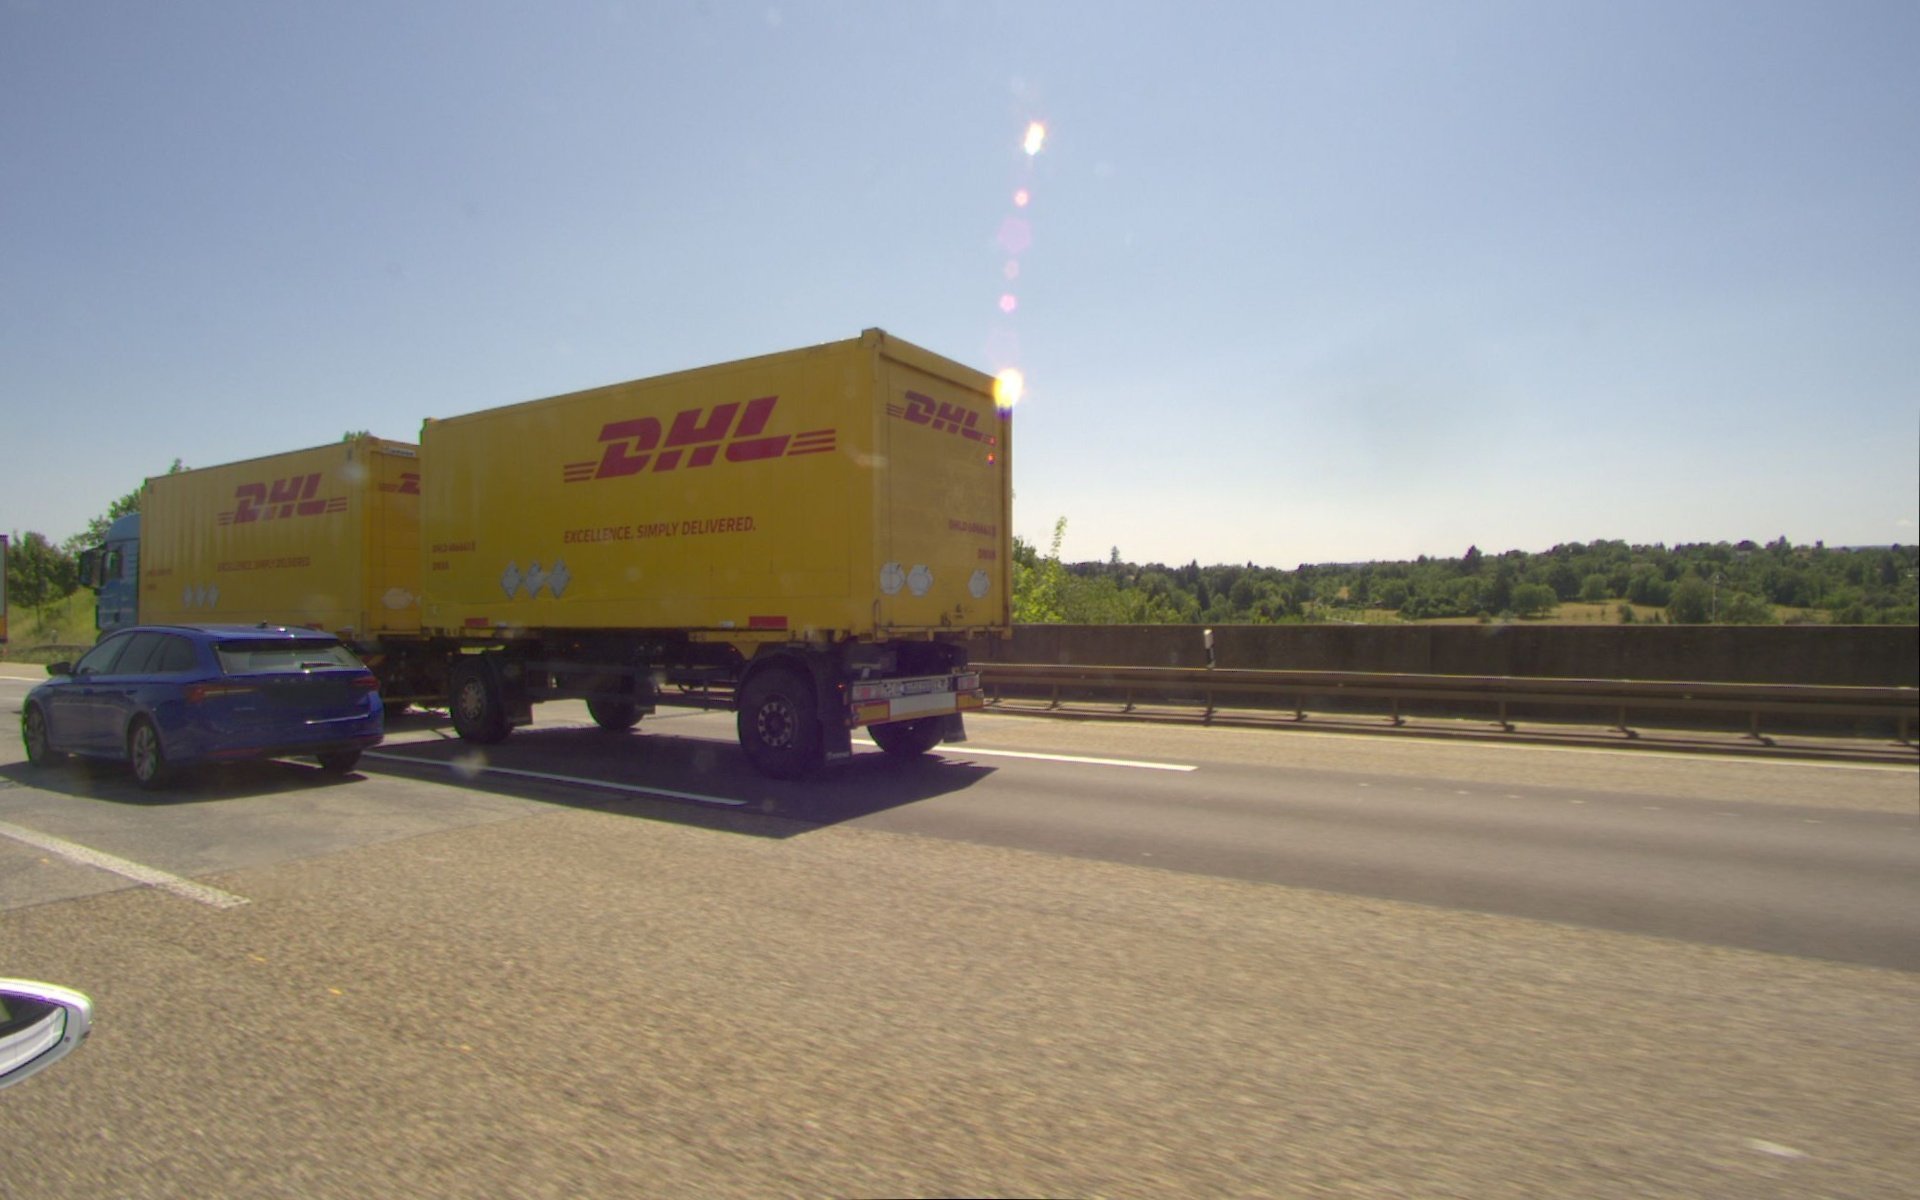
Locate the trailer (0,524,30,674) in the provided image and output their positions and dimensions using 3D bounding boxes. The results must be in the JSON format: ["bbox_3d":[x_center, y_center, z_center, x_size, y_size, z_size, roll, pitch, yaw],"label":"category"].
[{"bbox_3d":[-32.498,0.023,30.260,13.552,4.102,2.957,-1,-1,32],"label":"trailer"}]

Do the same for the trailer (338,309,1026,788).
[{"bbox_3d":[-3.891,-0.353,12.399,9.244,4.170,2.760,-1,-2,33],"label":"trailer"}]

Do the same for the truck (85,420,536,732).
[{"bbox_3d":[-11.505,-0.216,17.229,9.813,4.162,2.760,-1,-2,33],"label":"truck"}]

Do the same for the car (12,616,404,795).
[{"bbox_3d":[-7.640,0.941,10.068,4.364,1.459,1.703,-1,-2,32],"label":"car"}]
